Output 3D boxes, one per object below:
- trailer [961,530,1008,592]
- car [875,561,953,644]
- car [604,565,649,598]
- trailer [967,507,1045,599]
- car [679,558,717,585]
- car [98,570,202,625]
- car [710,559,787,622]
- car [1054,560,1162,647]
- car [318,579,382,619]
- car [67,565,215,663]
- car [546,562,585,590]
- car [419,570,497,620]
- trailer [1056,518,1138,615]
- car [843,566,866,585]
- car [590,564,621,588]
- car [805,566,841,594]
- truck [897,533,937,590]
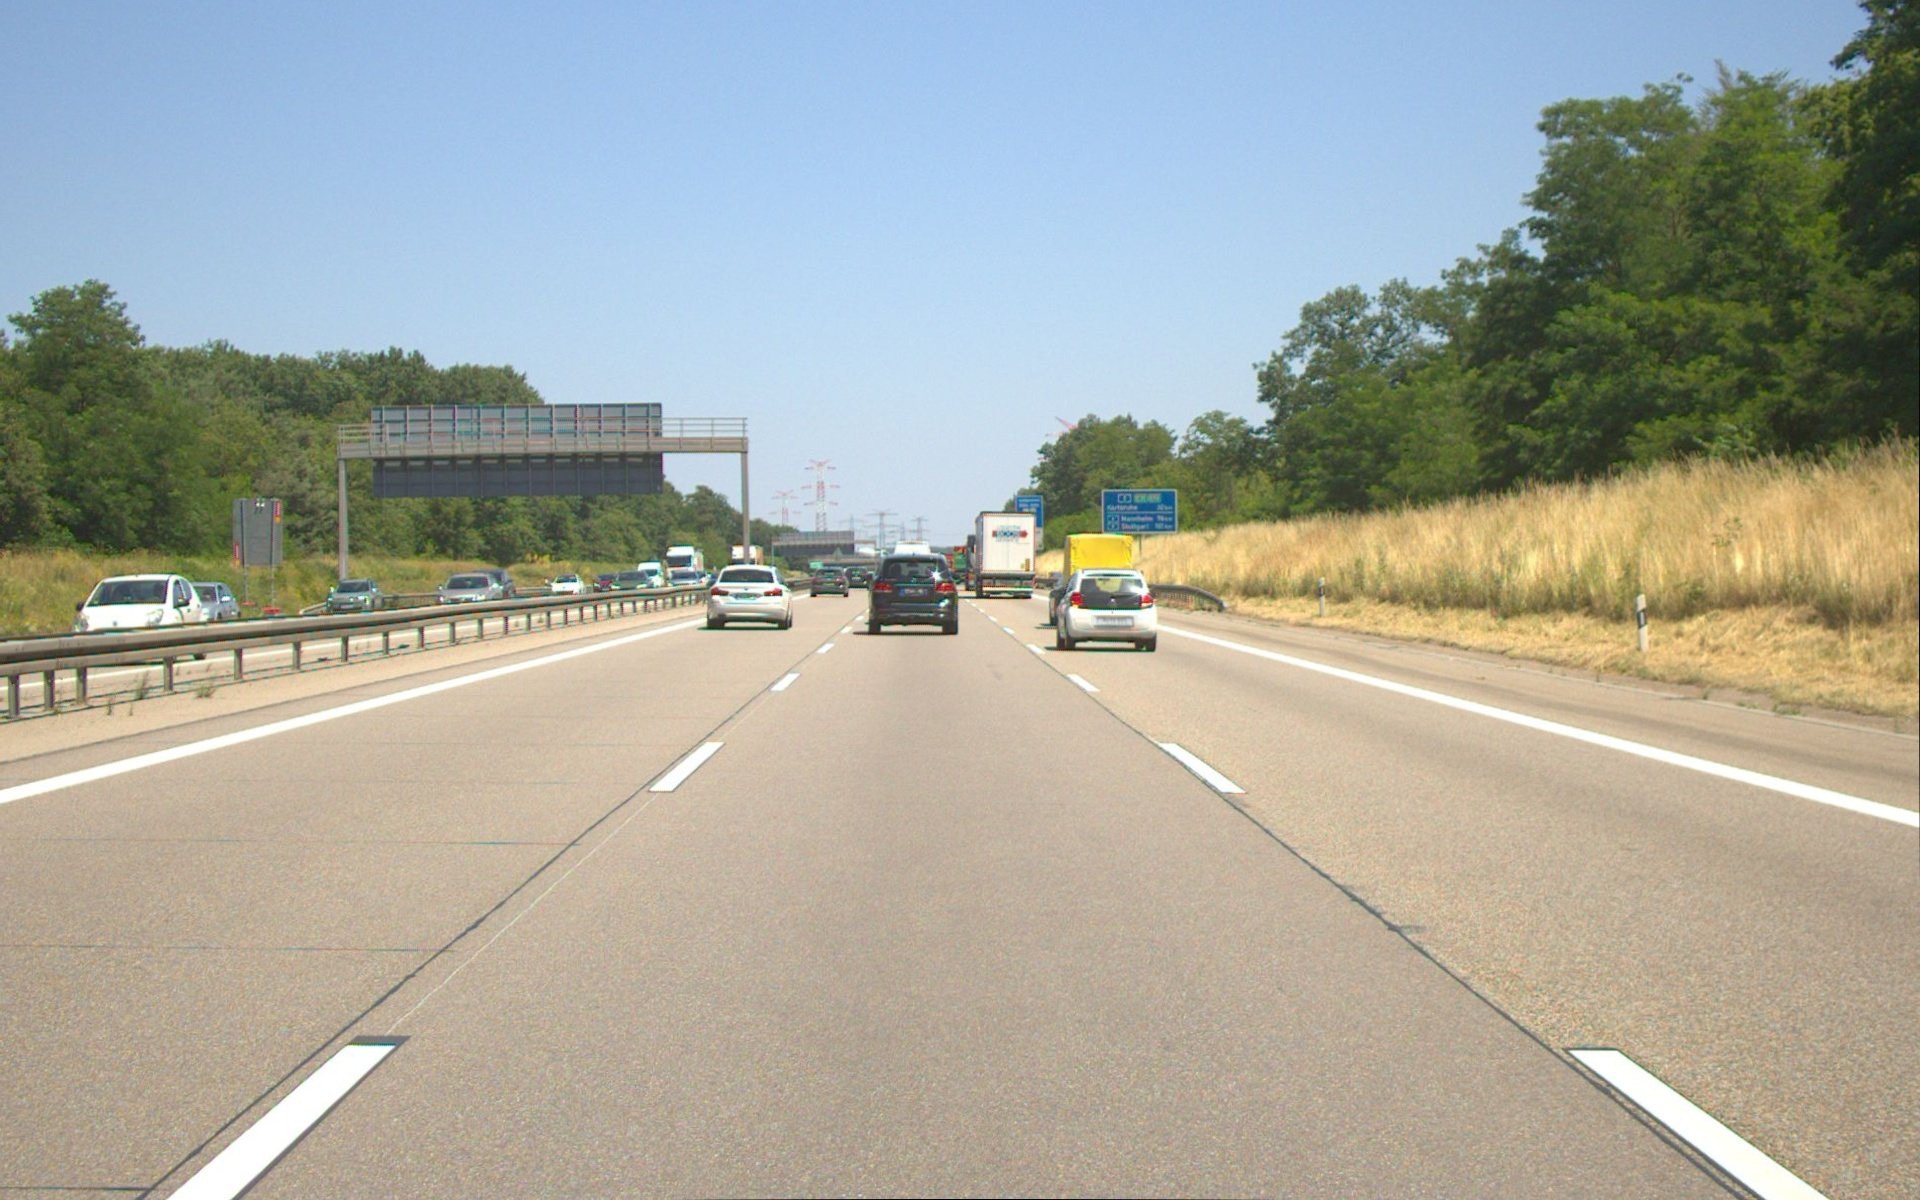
[{"bbox_3d":[1.531,-2.451,221.256,2.682,3.824,12.010,1,0,-1],"label":"trailer"},{"bbox_3d":[-0.992,0.037,74.666,1.626,1.749,3.805,1,0,-1],"label":"car"},{"bbox_3d":[-15.498,-0.880,160.013,1.698,1.424,4.574,-3,1,-1],"label":"car"},{"bbox_3d":[2.127,-2.197,166.250,3.286,4.205,13.565,1,0,-1],"label":"trailer"},{"bbox_3d":[-15.037,-1.655,197.486,1.794,1.469,4.987,-3,1,-1],"label":"car"},{"bbox_3d":[-22.330,-0.088,94.971,1.654,1.406,5.176,-3,1,-1],"label":"car"},{"bbox_3d":[-4.848,-0.236,79.199,1.669,1.396,3.713,0,1,-2],"label":"car"},{"bbox_3d":[2.625,0.047,61.576,1.708,1.490,4.024,1,0,-1],"label":"car"},{"bbox_3d":[-23.597,-0.047,133.098,1.670,1.405,4.598,-3,1,-1],"label":"car"},{"bbox_3d":[-13.226,0.199,55.686,1.516,1.462,3.640,-3,1,-1],"label":"car"},{"bbox_3d":[-23.514,-1.437,205.076,1.794,1.511,4.904,-3,1,-1],"label":"car"},{"bbox_3d":[-15.879,-0.182,108.897,1.761,1.454,5.121,-3,1,-1],"label":"car"},{"bbox_3d":[3.288,-0.805,83.289,1.703,2.282,3.840,1,0,-2],"label":"trailer"},{"bbox_3d":[-6.584,-1.538,214.721,1.405,1.128,3.358,1,0,-1],"label":"car"},{"bbox_3d":[-24.493,-1.667,237.477,1.646,1.585,4.612,-3,1,-1],"label":"car"},{"bbox_3d":[-6.574,-0.958,164.941,1.607,1.296,3.674,1,0,-1],"label":"car"},{"bbox_3d":[-2.249,-1.985,178.655,2.060,2.904,7.003,0,0,-1],"label":"truck"}]
